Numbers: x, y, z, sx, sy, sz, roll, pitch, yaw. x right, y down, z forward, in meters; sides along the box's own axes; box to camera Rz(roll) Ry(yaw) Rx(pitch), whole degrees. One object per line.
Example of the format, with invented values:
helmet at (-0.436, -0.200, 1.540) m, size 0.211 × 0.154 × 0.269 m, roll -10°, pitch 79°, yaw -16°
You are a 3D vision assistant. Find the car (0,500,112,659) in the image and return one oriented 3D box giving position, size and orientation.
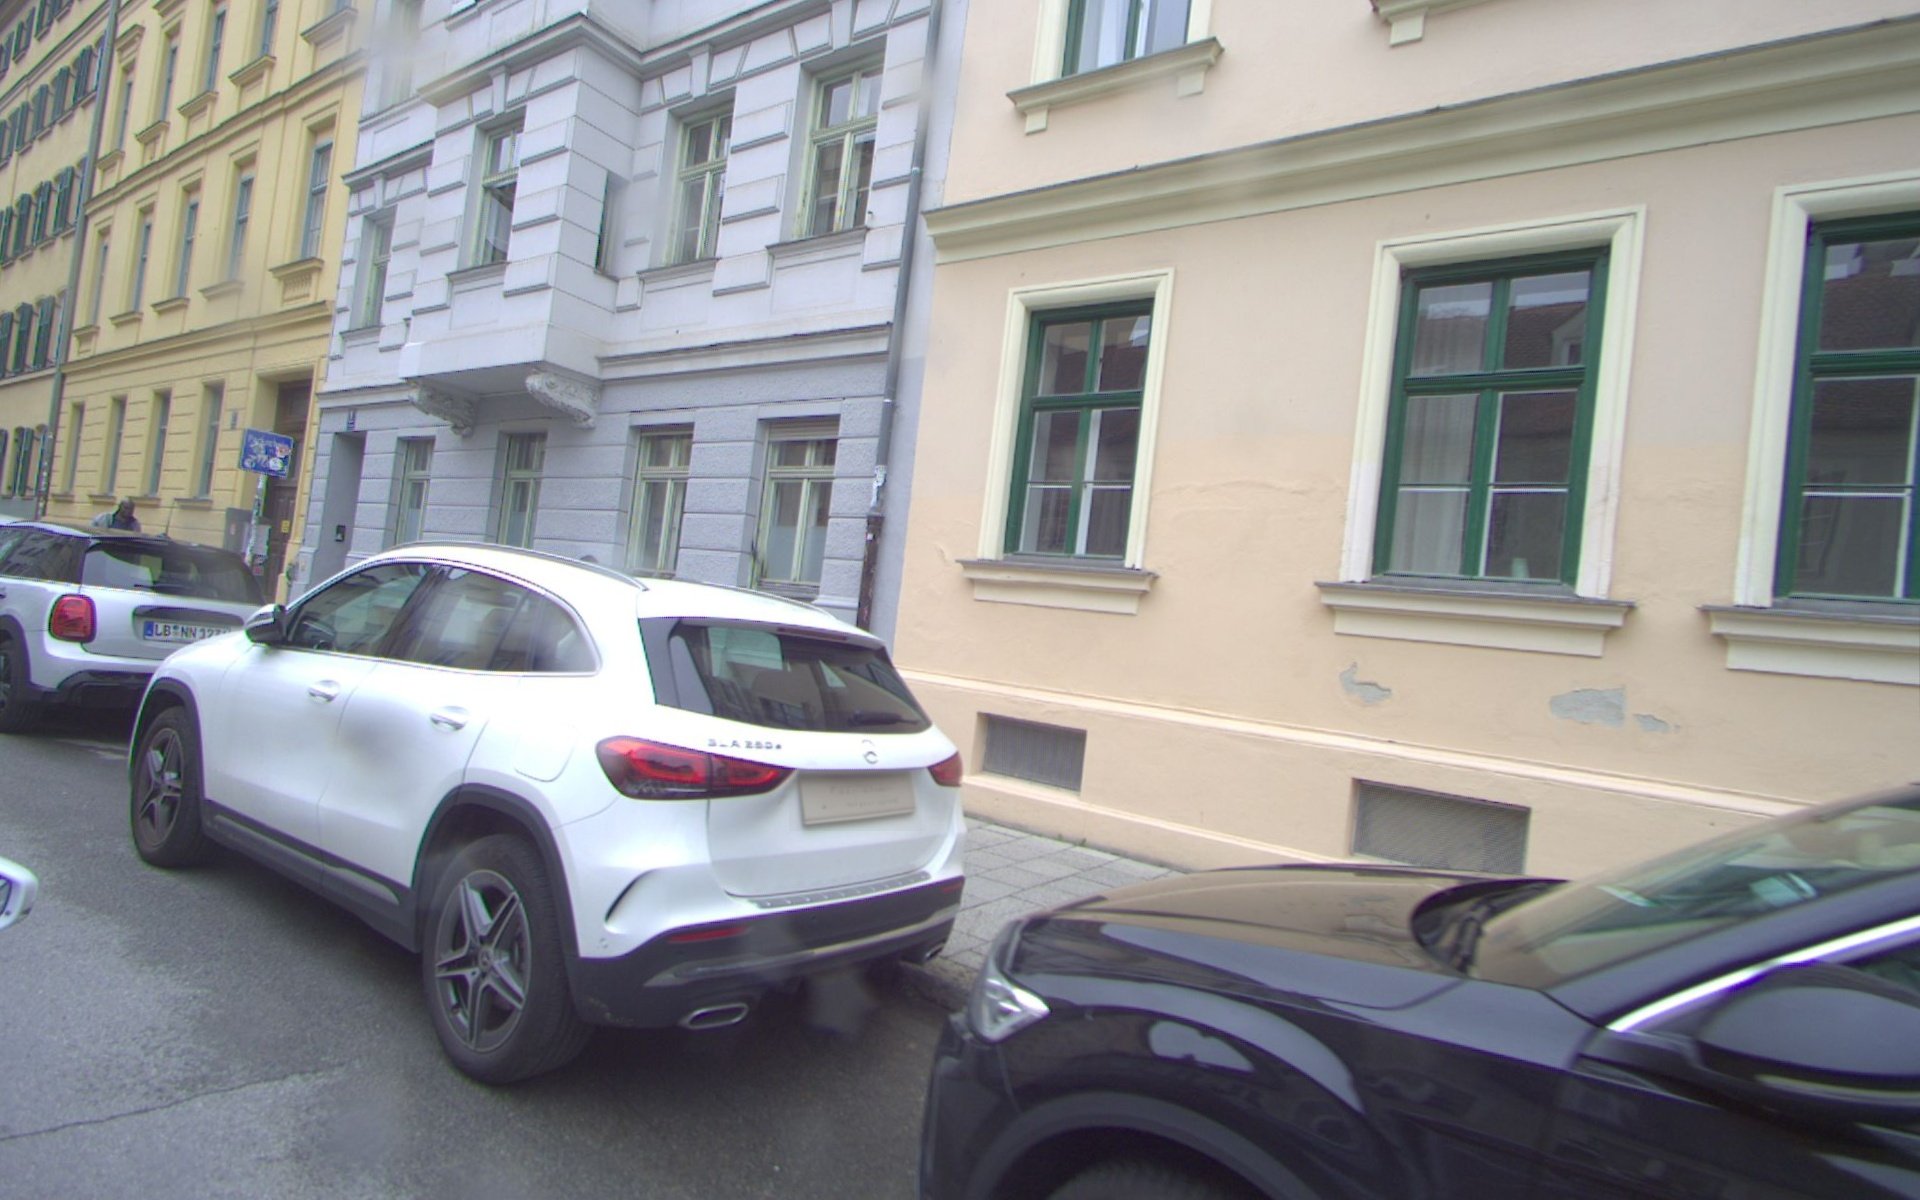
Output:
car at (-11.389, -0.411, 11.313) m, size 4.400 × 1.527 × 1.718 m, roll 6°, pitch -2°, yaw 36°

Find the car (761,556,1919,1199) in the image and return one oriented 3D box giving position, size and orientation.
car at (1.779, 0.956, 1.555) m, size 4.079 × 1.584 × 1.718 m, roll 6°, pitch -2°, yaw 37°

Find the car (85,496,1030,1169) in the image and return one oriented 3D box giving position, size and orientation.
car at (-2.031, 0.558, 4.503) m, size 4.255 × 1.619 × 1.719 m, roll 6°, pitch -2°, yaw 35°

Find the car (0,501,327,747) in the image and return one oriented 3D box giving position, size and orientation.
car at (-7.053, 0.079, 8.077) m, size 3.872 × 1.527 × 1.720 m, roll 6°, pitch -2°, yaw 32°

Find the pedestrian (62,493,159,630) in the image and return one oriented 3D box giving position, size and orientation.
pedestrian at (-12.524, -0.559, 14.830) m, size 0.792 × 1.884 × 0.702 m, roll 7°, pitch -2°, yaw 34°

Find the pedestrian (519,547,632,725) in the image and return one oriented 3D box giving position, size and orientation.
pedestrian at (-3.664, 0.342, 9.591) m, size 0.615 × 1.594 × 0.645 m, roll 6°, pitch 1°, yaw 34°
